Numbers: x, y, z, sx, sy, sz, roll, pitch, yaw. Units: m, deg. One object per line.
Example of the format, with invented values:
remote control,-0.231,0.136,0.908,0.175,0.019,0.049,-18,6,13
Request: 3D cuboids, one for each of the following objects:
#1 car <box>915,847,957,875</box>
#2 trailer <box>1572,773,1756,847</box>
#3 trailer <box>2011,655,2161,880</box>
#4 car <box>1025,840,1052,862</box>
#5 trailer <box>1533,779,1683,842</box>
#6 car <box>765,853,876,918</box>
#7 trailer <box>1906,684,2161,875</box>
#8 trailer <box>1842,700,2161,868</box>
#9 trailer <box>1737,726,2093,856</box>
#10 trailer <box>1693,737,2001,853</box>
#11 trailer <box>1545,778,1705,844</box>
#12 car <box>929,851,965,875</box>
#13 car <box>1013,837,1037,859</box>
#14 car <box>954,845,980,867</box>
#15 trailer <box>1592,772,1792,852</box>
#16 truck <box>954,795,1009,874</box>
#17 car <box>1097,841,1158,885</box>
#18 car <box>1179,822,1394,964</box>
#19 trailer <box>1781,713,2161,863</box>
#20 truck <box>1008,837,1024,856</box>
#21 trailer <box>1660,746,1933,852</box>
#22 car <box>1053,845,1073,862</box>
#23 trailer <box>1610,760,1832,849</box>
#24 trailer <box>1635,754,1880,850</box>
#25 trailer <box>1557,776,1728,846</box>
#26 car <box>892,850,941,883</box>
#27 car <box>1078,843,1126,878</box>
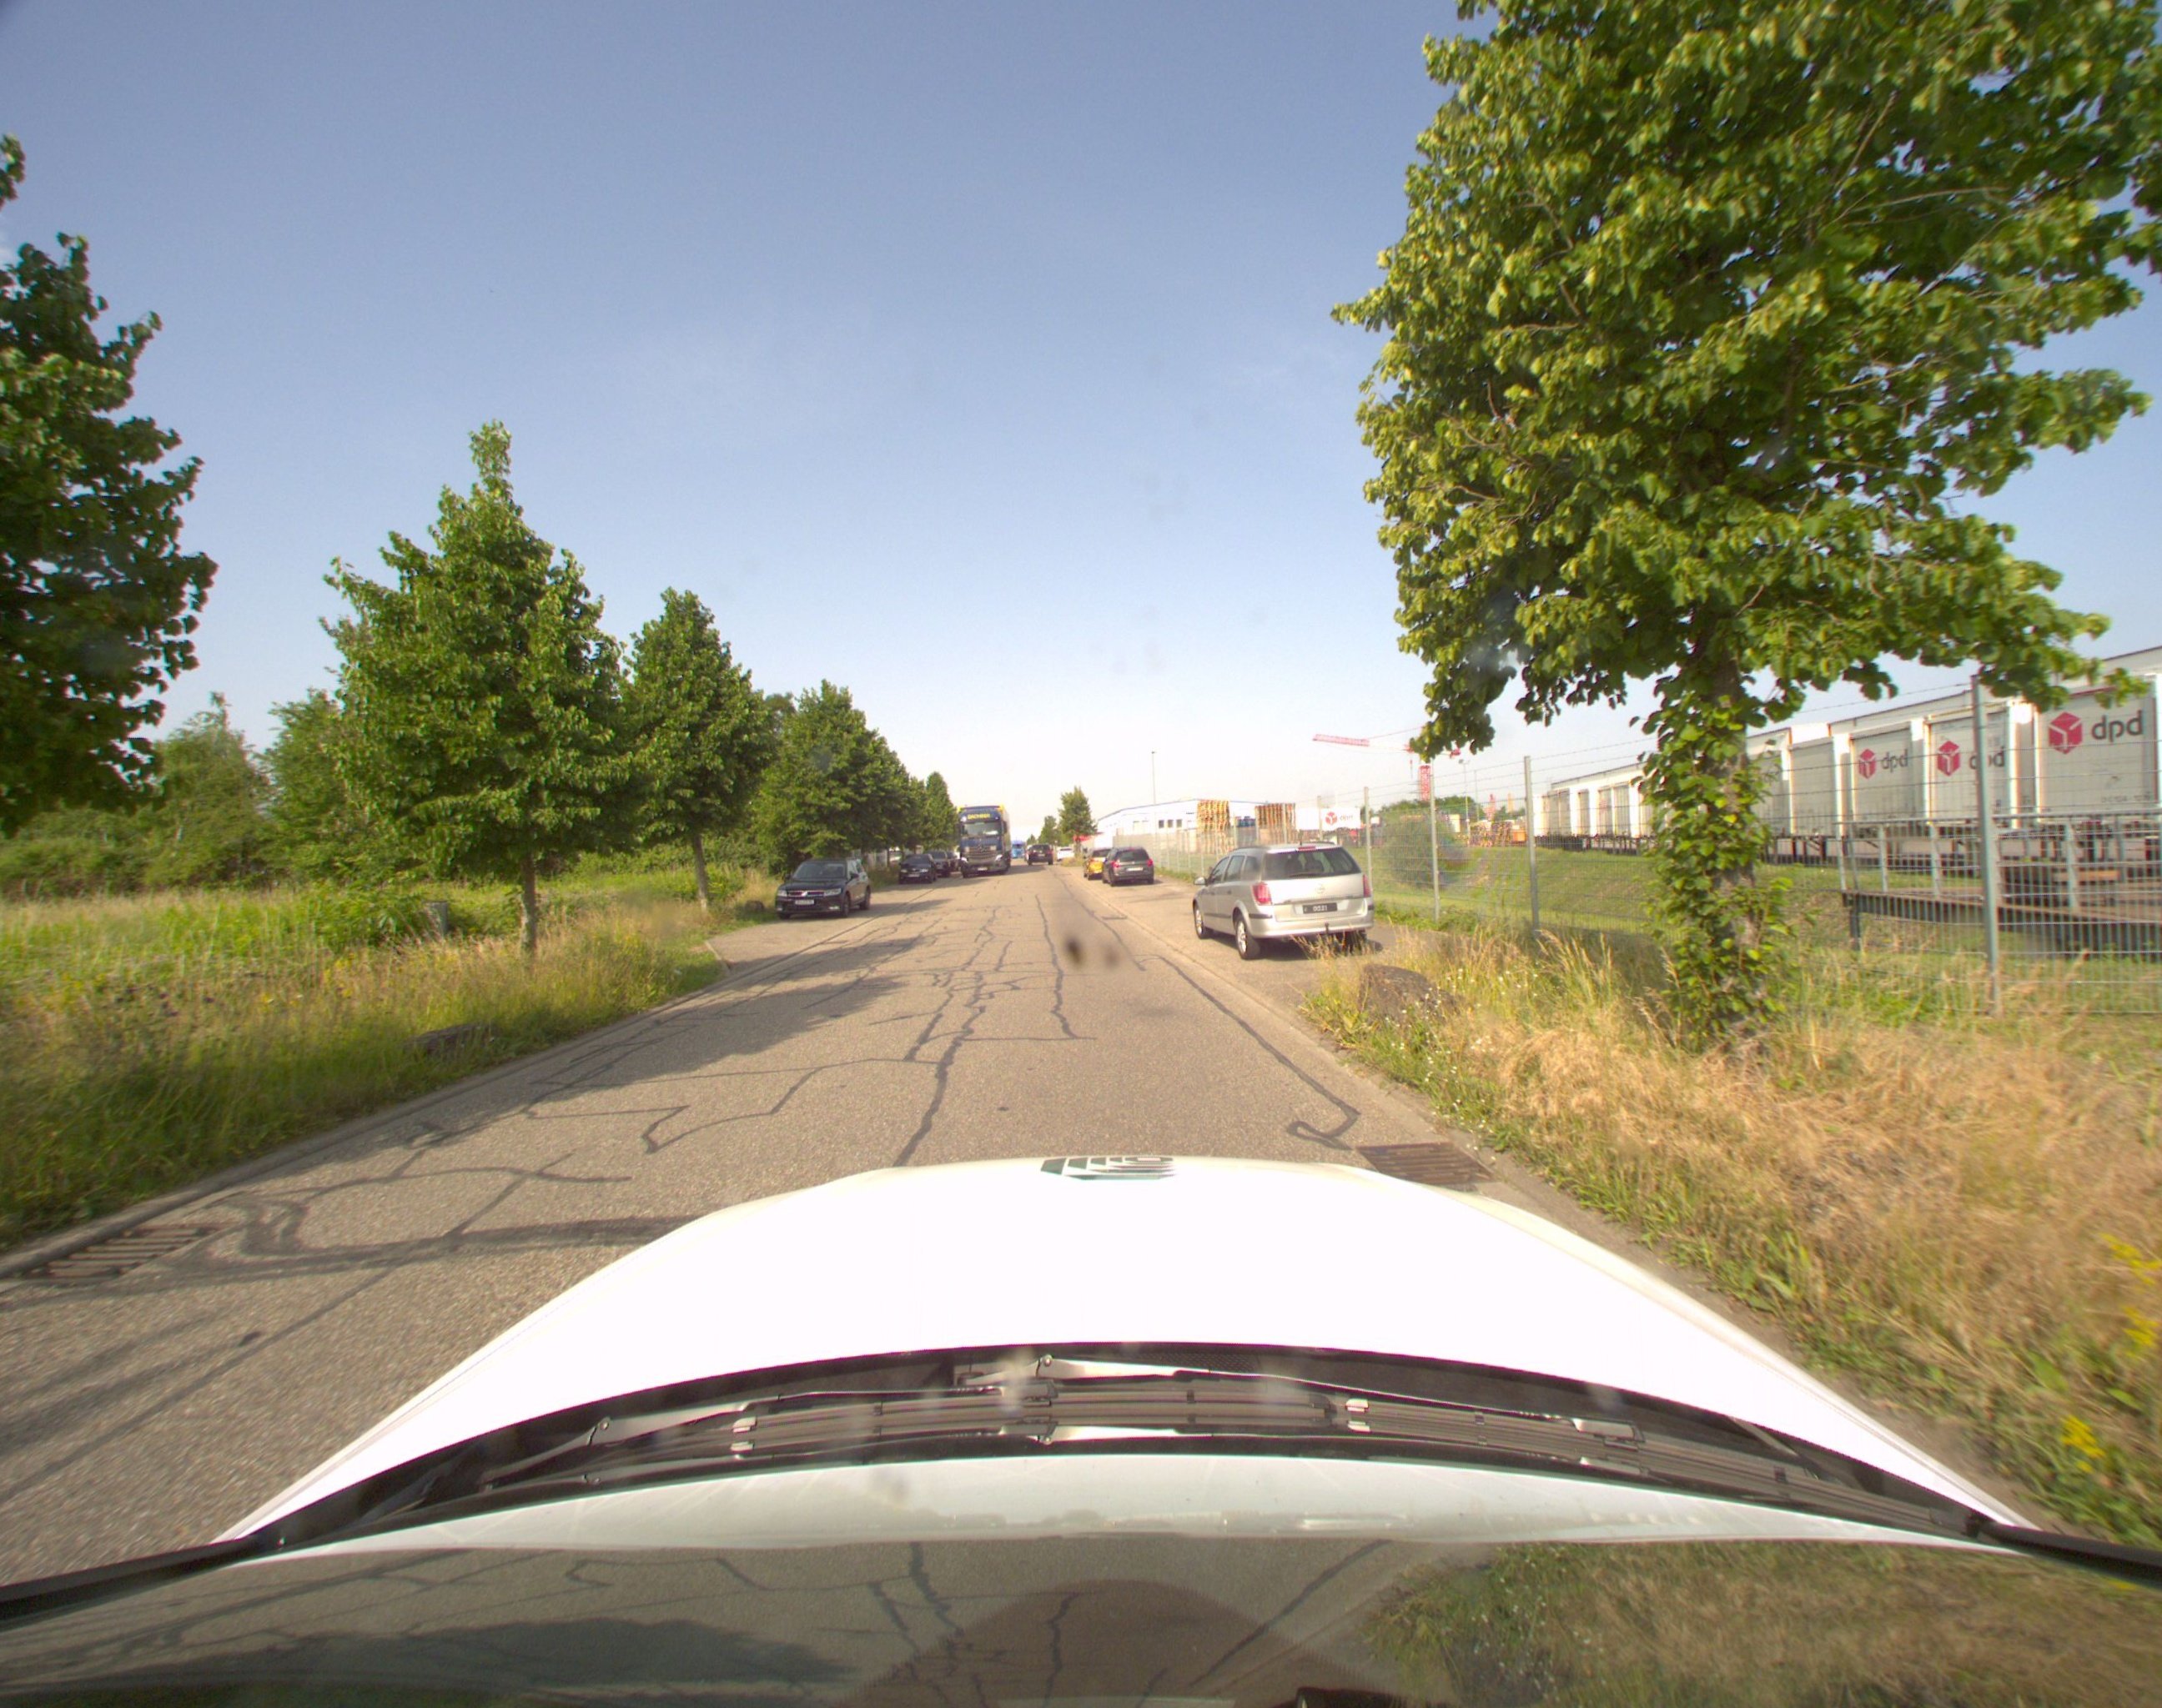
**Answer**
car,-8.338,0.396,47.105,1.829,1.496,4.045,-1,1,-3
trailer,32.415,-2.405,45.640,7.904,3.893,2.787,0,2,15
trailer,23.012,-1.579,14.450,8.473,3.893,2.787,0,2,15
car,-3.301,-0.219,64.368,1.875,1.586,4.112,-3,0,-1
trailer,34.772,-2.838,54.087,7.904,3.893,2.754,0,2,15
car,-7.321,0.812,23.378,1.898,1.626,4.445,-1,1,-3
trailer,23.941,-1.578,17.518,8.473,3.893,2.787,0,2,15
trailer,24.914,-1.679,20.380,8.246,3.893,2.787,0,2,15
trailer,27.201,-1.969,27.064,7.974,3.893,2.787,0,2,15
trailer,27.767,-2.064,30.011,7.904,3.893,2.787,0,2,15
trailer,34.013,-2.625,51.240,7.904,3.893,2.787,0,2,15
car,-8.714,0.557,53.394,1.829,1.496,4.045,-1,1,-3
car,-5.873,-0.615,86.192,2.114,2.110,4.624,-3,0,0
car,-9.861,0.149,70.680,1.829,1.762,4.045,-1,1,-3
trailer,31.676,-2.150,42.620,7.904,3.893,2.787,0,2,15
truck,-5.872,-1.134,49.621,2.494,4.145,10.364,-4,1,-4
car,1.786,0.313,32.472,1.712,1.515,3.996,-4,1,-6
car,2.839,0.459,12.377,1.795,1.625,4.443,-4,1,-4
trailer,25.746,-1.757,23.341,8.246,3.893,2.787,0,2,15
truck,-13.363,-1.504,167.006,2.875,3.760,6.072,-2,1,-5
trailer,28.546,-2.117,32.941,7.904,3.893,2.787,0,2,15
car,-1.861,-0.090,83.860,1.712,1.680,3.943,-2,1,-5
trailer,30.289,-2.283,38.968,7.904,3.893,2.787,0,2,15
trailer,29.557,-2.198,36.010,7.904,3.893,2.787,0,2,15
trailer,33.140,-2.514,48.449,7.904,3.893,2.787,0,2,15
car,-8.255,0.580,41.141,1.829,1.496,4.045,-1,1,-3
car,0.937,0.269,38.191,1.712,1.455,4.180,-4,1,-5
